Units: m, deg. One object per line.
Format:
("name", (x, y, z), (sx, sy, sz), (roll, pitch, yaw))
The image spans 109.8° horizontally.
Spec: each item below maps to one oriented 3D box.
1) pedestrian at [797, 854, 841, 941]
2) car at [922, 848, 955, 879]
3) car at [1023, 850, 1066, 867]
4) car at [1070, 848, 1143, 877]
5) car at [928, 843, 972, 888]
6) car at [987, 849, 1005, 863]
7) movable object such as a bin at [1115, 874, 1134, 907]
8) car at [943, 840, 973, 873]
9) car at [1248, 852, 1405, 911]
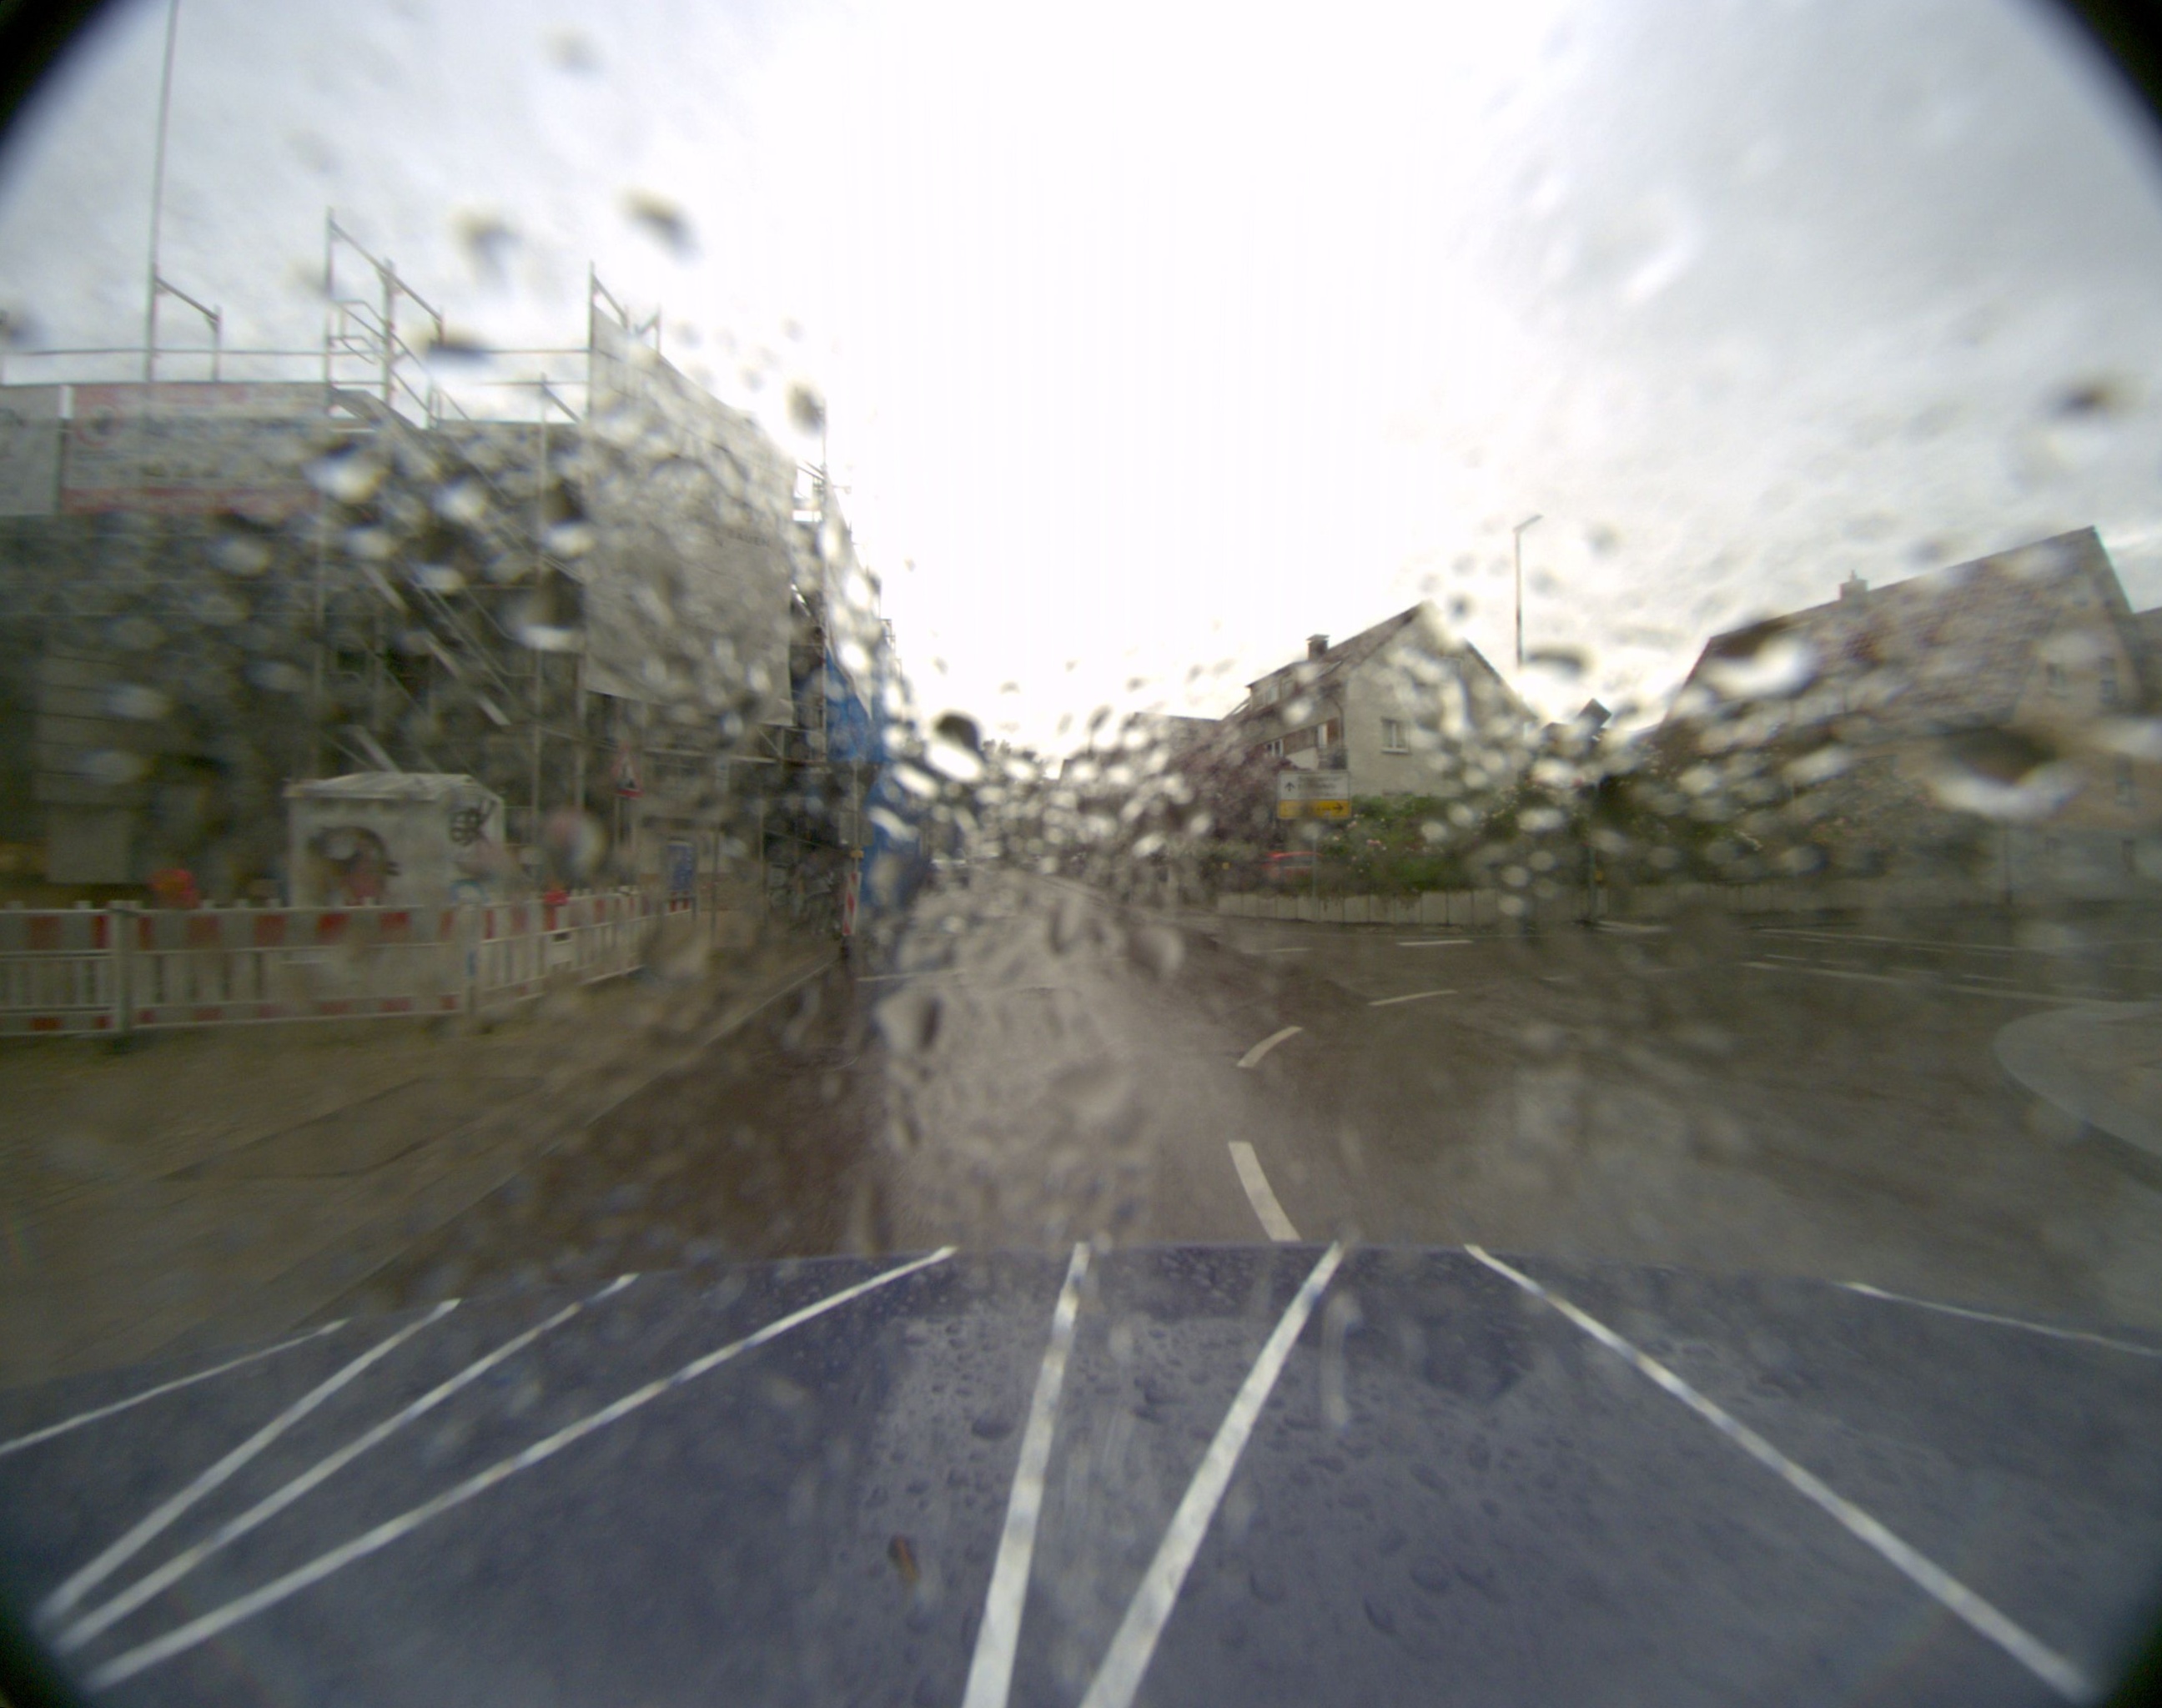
("pedestrian", (-4.821, 0.792, 13.998), (0.656, 1.571, 0.436), (1, 0, -8))
("car", (-8.478, 0.524, 45.074), (1.829, 1.786, 4.512), (0, 0, -11))
("car", (-3.073, 0.352, 64.098), (1.761, 1.346, 3.686), (2, 1, 34))
("car", (1.514, 0.472, 45.144), (4.004, 1.696, 1.778), (0, 0, -20))
("car", (-6.064, 0.504, 35.481), (1.828, 1.964, 4.513), (0, 0, -8))
("car", (-9.584, 0.238, 85.231), (1.710, 1.508, 3.588), (0, 0, -11))
("movable object such as a bin", (1.379, 1.142, 23.980), (0.522, 1.020, 0.414), (0, 1, -7))
("car", (-8.388, 0.171, 51.642), (1.712, 2.089, 3.936), (-1, 0, -12))
("car", (7.100, 0.774, 22.076), (4.003, 1.590, 1.718), (1, 1, -16))
